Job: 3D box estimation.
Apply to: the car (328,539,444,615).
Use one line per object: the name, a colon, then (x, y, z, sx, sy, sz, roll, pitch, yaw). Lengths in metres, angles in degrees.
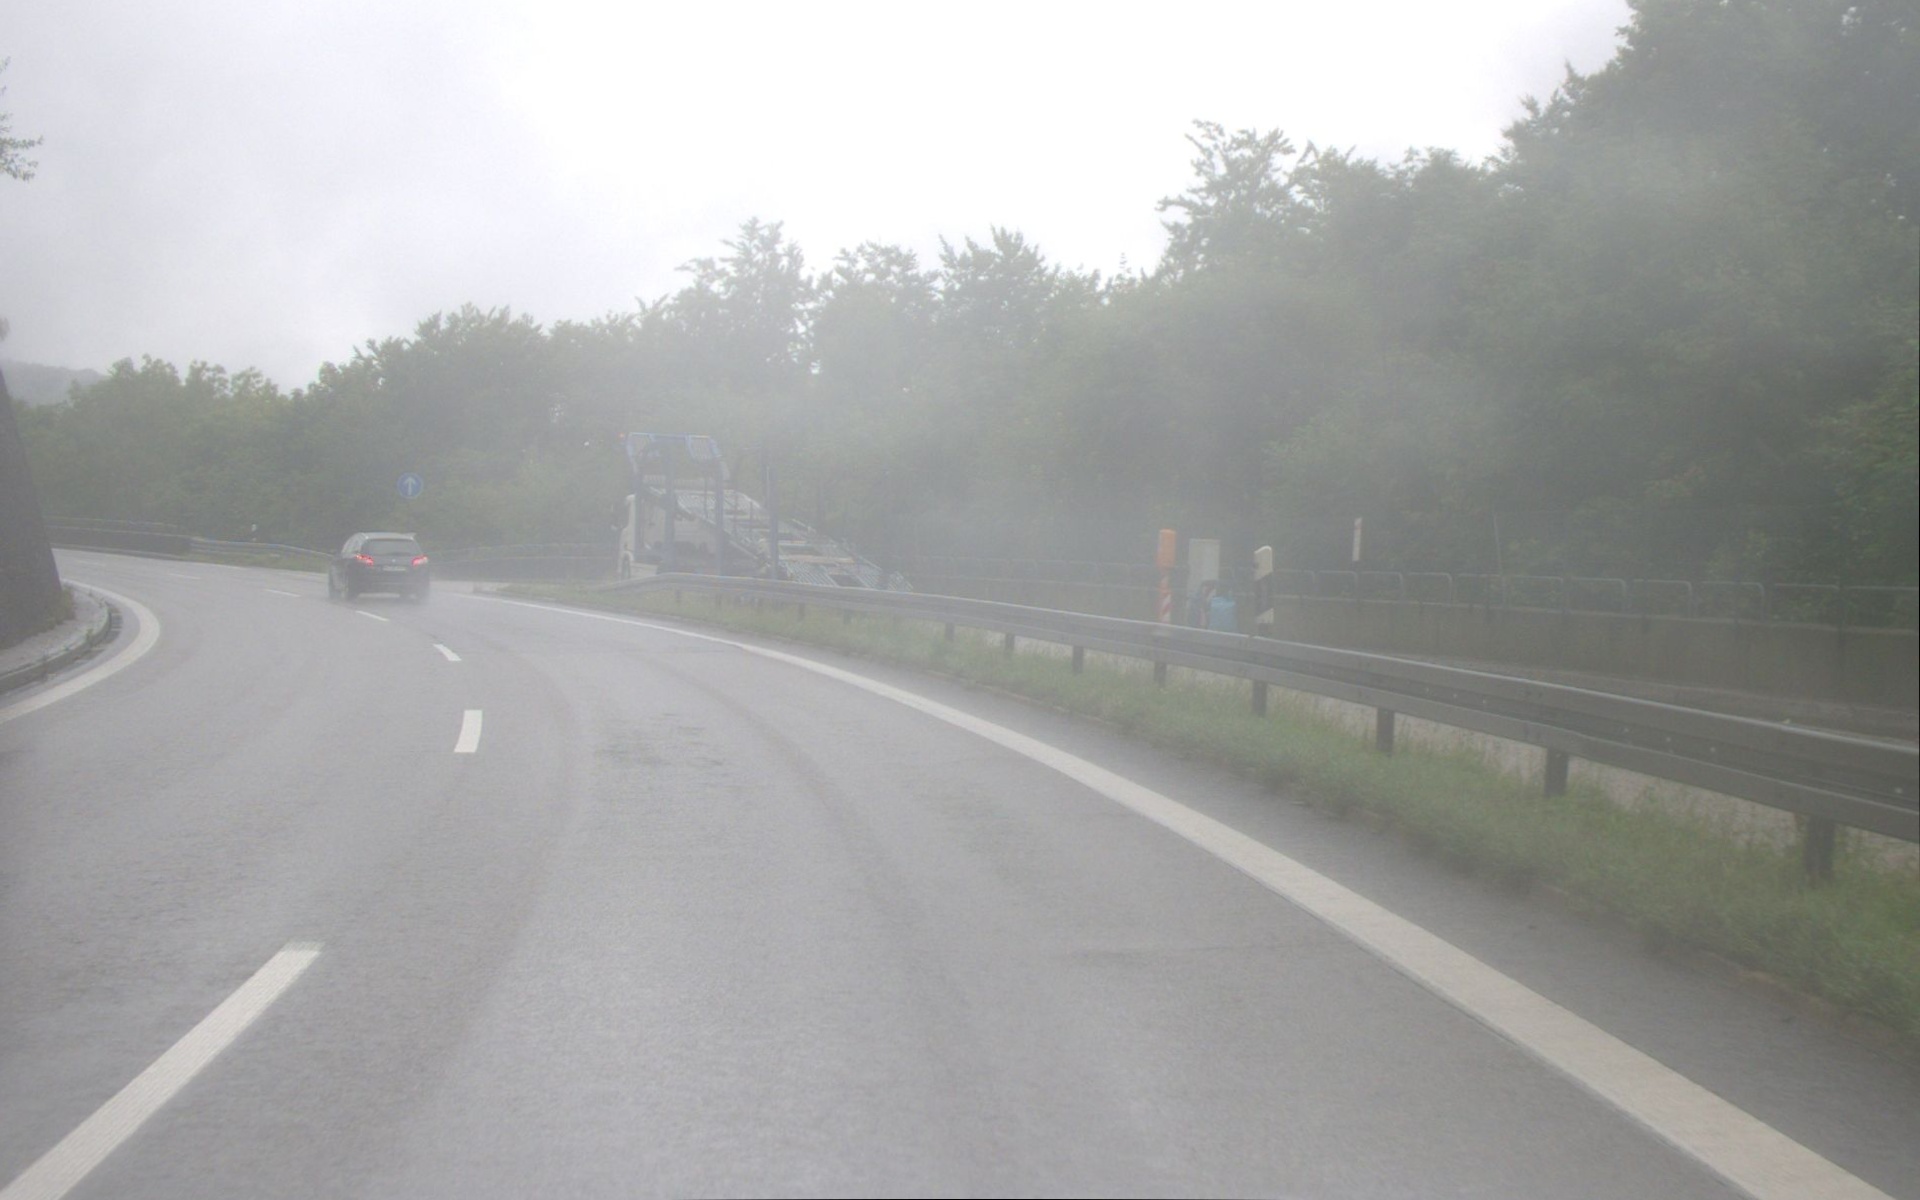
car: (-12.571, -0.514, 75.158, 1.903, 1.494, 4.001, 2, 1, -18)

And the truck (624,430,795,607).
truck: (-6.387, -2.027, 86.590, 2.895, 4.230, 6.883, 1, 1, -16)

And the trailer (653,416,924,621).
trailer: (-4.190, -1.832, 78.809, 2.891, 4.230, 14.702, 1, 1, -16)
